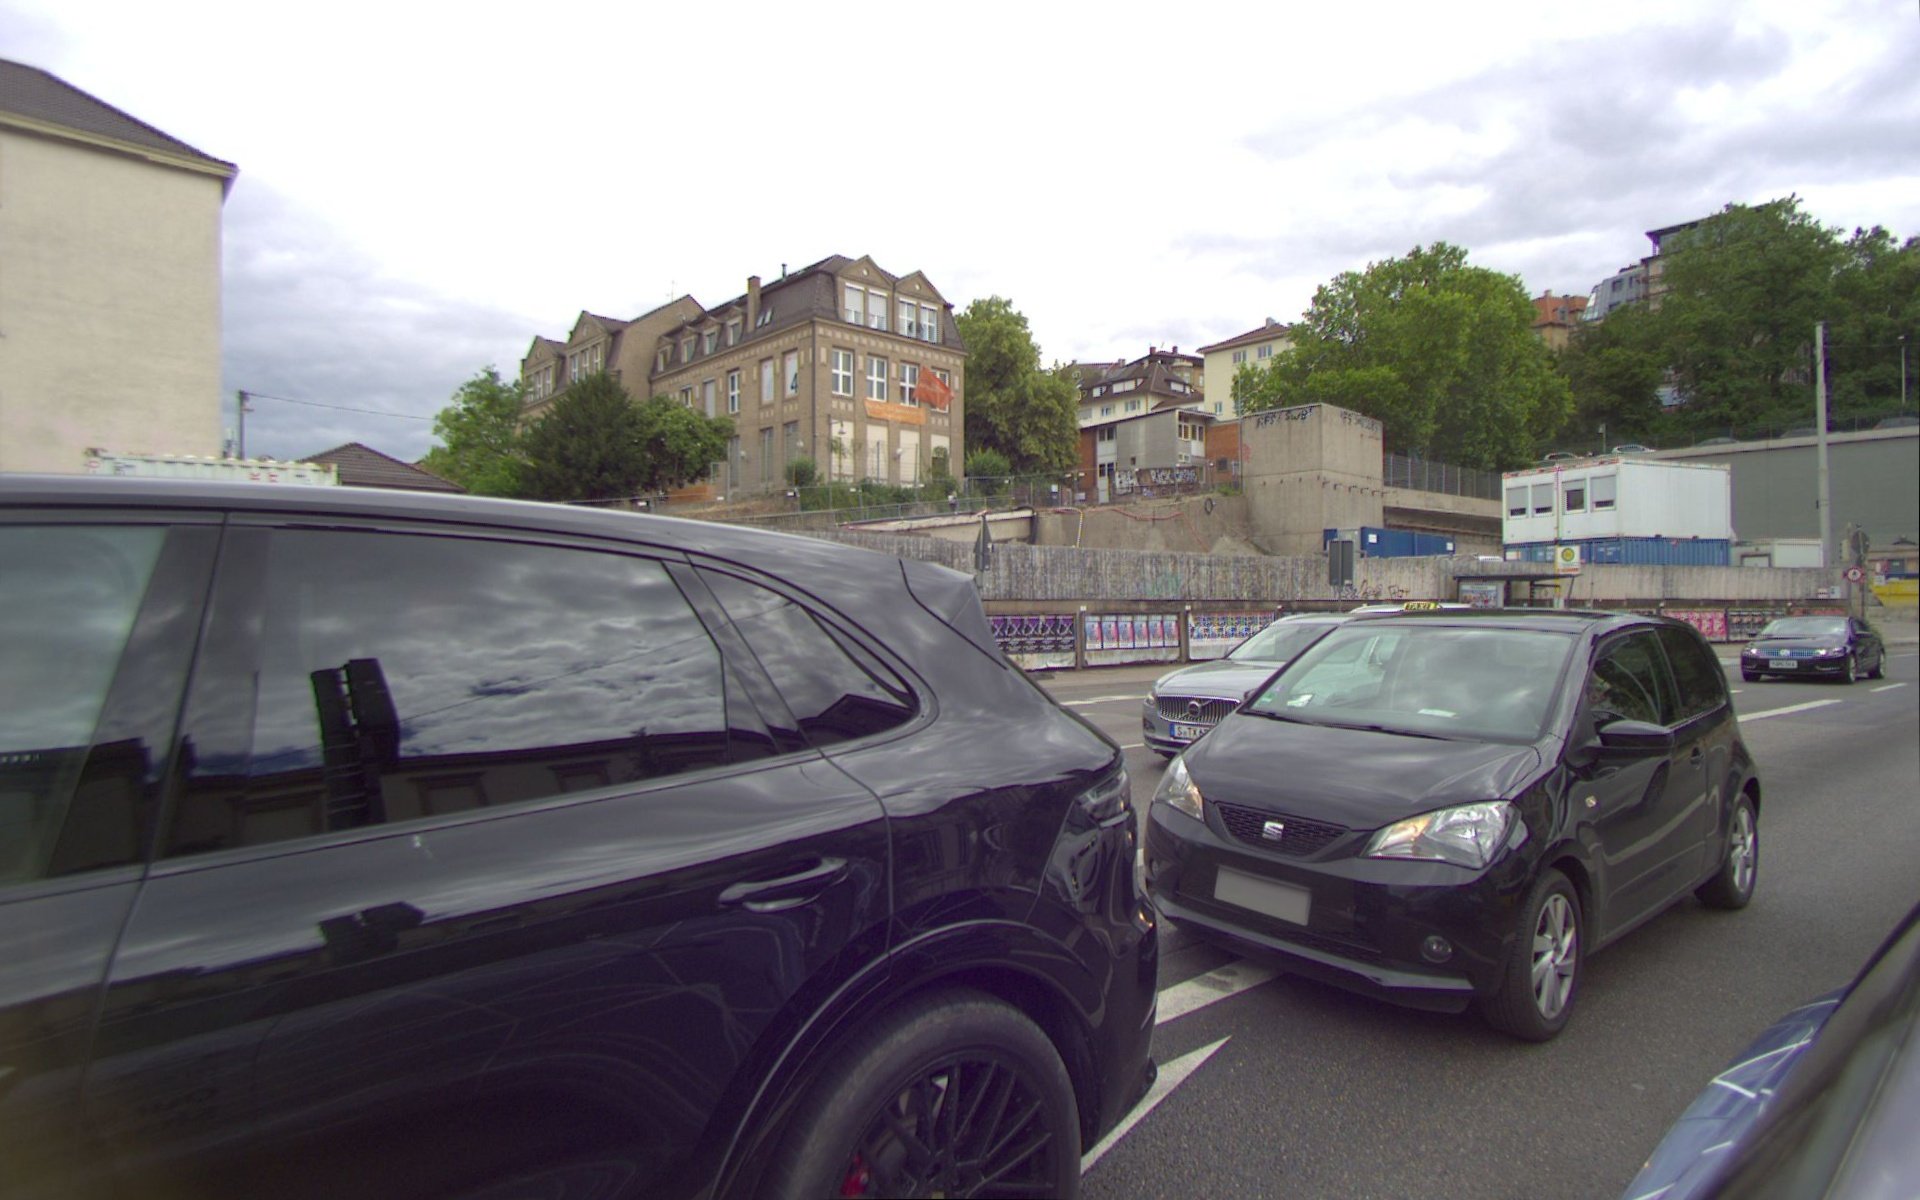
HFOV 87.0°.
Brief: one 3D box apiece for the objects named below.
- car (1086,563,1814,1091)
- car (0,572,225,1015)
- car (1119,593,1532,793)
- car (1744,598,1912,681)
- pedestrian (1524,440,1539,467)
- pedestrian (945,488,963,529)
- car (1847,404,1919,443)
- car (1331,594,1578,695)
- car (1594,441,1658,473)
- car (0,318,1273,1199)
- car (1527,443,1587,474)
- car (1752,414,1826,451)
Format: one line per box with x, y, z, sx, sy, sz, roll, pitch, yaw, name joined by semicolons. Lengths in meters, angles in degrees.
2.518;0.657;4.787;3.812;1.515;1.667;0;-1;-40;car
-4.892;0.690;3.419;3.812;1.563;1.667;0;-1;-40;car
3.856;0.741;10.278;4.570;1.591;1.826;0;0;-39;car
18.485;0.756;21.501;4.465;1.579;1.705;0;0;-36;car
47.458;-12.171;84.023;0.891;2.039;0.849;0;-1;-45;pedestrian
-0.301;-4.688;51.797;0.656;2.039;0.644;0;0;-45;pedestrian
64.145;-12.185;70.051;1.966;2.039;3.991;0;1;-43;car
8.794;0.708;17.899;4.459;1.579;1.708;0;0;-30;car
53.556;-11.499;81.441;3.988;2.039;1.968;0;1;45;car
-1.631;0.581;1.701;4.552;1.707;1.959;0;-1;-40;car
50.240;-11.906;85.230;3.988;2.039;1.968;0;1;45;car
60.606;-12.214;74.018;1.966;2.039;3.991;0;1;-43;car
